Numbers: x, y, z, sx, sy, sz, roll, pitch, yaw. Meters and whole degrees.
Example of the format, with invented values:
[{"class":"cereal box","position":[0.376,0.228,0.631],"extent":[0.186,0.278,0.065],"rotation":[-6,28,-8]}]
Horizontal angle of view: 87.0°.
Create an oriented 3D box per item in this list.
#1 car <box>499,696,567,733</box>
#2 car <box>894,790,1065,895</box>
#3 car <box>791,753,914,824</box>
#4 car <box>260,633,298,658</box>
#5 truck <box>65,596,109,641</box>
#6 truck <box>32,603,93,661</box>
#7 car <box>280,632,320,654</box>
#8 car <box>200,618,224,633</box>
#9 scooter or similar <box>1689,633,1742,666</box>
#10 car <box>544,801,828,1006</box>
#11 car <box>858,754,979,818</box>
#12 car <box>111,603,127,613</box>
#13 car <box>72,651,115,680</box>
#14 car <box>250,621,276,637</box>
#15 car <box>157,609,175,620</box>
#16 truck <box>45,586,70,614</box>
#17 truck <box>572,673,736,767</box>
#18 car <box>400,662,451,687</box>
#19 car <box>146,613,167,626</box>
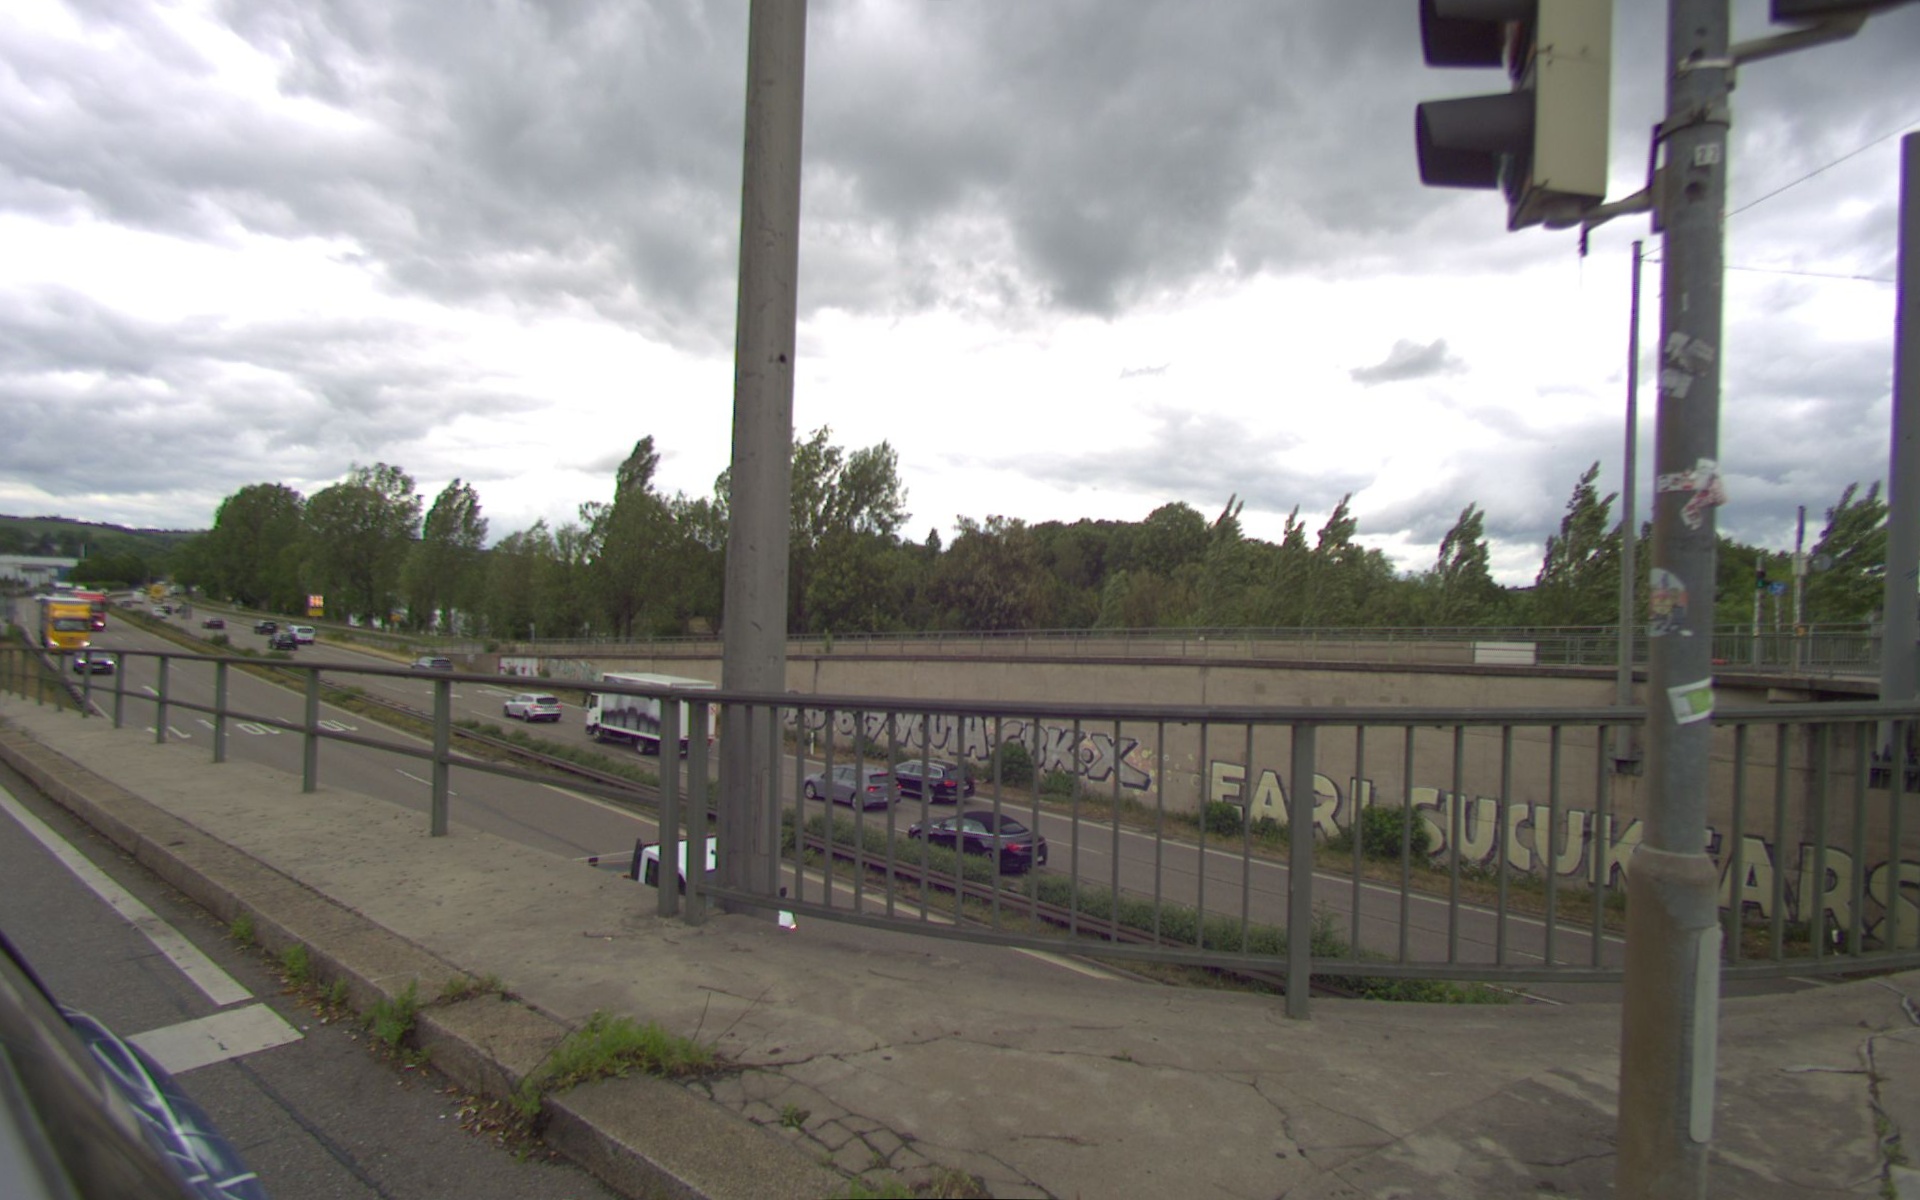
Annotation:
[{"class":"car","position":[-23.710,6.285,56.095],"extent":[1.970,1.630,4.332],"rotation":[5,-3,-44]},{"class":"car","position":[0.476,6.886,29.285],"extent":[2.302,1.729,4.737],"rotation":[-1,2,-43]},{"class":"car","position":[-4.001,6.860,37.229],"extent":[4.427,1.730,2.108],"rotation":[2,-1,44]},{"class":"car","position":[-65.297,4.351,96.989],"extent":[2.192,2.028,4.646],"rotation":[4,0,-44]},{"class":"truck","position":[-94.561,1.899,109.534],"extent":[2.847,4.389,13.271],"rotation":[3,-1,-43]},{"class":"truck","position":[-72.899,2.552,82.122],"extent":[2.860,4.215,10.031],"rotation":[5,-3,-45]},{"class":"car","position":[-69.354,4.519,106.310],"extent":[2.560,2.029,4.645],"rotation":[4,-2,-44]},{"class":"car","position":[-93.593,3.210,126.597],"extent":[1.970,1.730,3.643],"rotation":[5,-4,-43]},{"class":"scooter or similar","position":[24.994,1.624,33.504],"extent":[1.332,1.064,0.479],"rotation":[-1,-1,33]},{"class":"car","position":[-5.765,5.872,20.623],"extent":[6.555,2.248,2.320],"rotation":[2,-2,42]},{"class":"car","position":[-1.623,7.048,38.731],"extent":[4.427,1.577,2.108],"rotation":[2,-1,44]},{"class":"car","position":[-161.936,1.516,194.927],"extent":[1.970,1.730,3.642],"rotation":[5,-4,-44]},{"class":"car","position":[-57.608,4.301,67.254],"extent":[1.852,1.710,3.844],"rotation":[4,-2,-44]},{"class":"car","position":[-82.720,3.459,120.105],"extent":[1.970,1.782,3.486],"rotation":[5,-4,-43]},{"class":"car","position":[-130.722,2.436,166.618],"extent":[1.970,1.730,3.643],"rotation":[5,-4,-43]},{"class":"truck","position":[-174.233,0.001,195.316],"extent":[3.328,4.991,13.953],"rotation":[2,0,-43]},{"class":"truck","position":[-14.582,5.500,47.873],"extent":[8.239,3.482,3.545],"rotation":[1,-3,42]},{"class":"car","position":[-40.325,5.617,76.306],"extent":[4.328,1.630,1.972],"rotation":[0,-3,42]},{"class":"car","position":[-118.148,2.830,148.784],"extent":[1.970,1.730,3.643],"rotation":[5,-4,-43]}]
